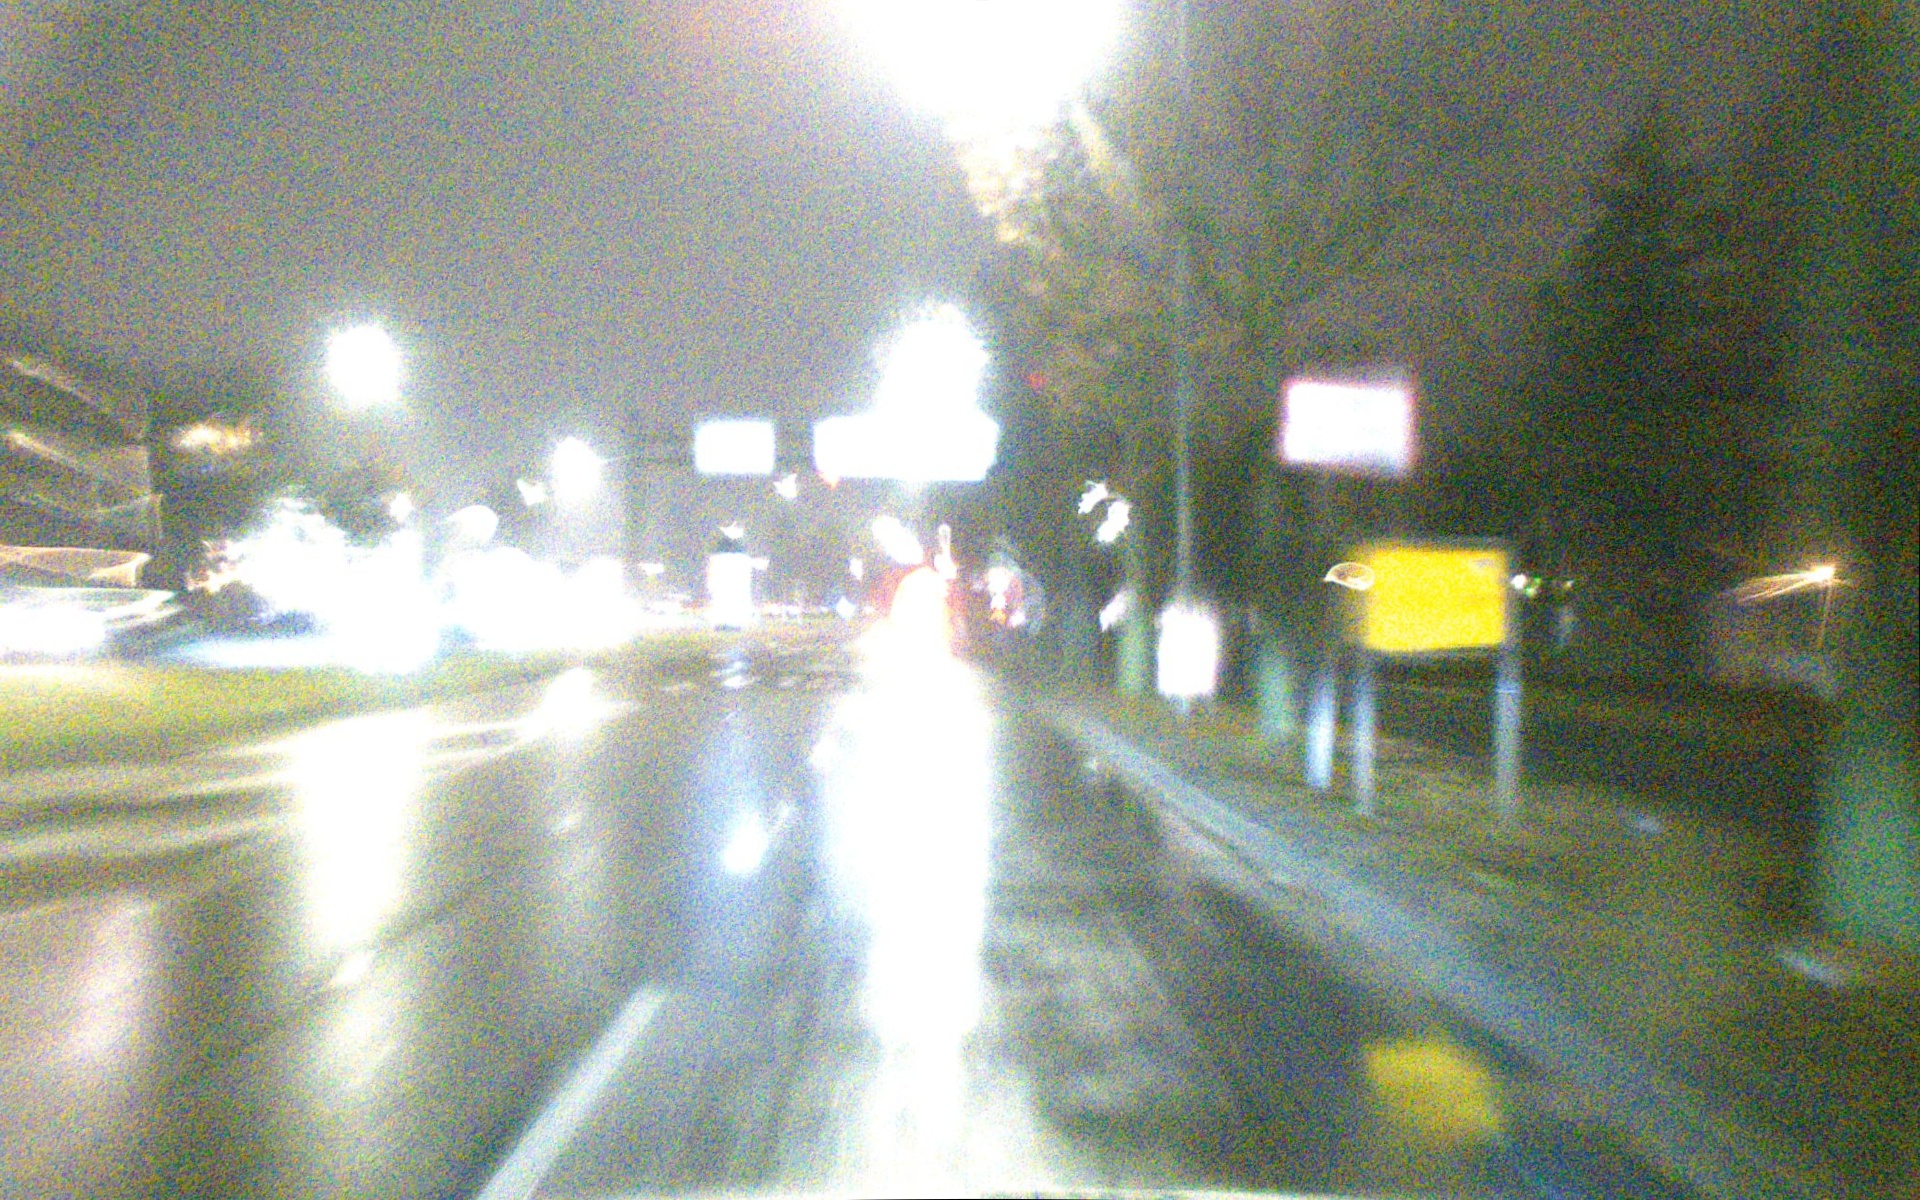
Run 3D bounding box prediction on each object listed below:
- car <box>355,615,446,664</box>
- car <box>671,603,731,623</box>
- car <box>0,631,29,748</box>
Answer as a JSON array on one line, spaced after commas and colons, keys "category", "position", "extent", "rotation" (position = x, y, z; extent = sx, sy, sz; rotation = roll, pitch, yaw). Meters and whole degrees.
[{"category": "car", "position": [-21.025, 1.466, 62.353], "extent": [1.984, 1.713, 4.546], "rotation": [1, 0, -2]}, {"category": "car", "position": [-29.351, 1.492, 187.484], "extent": [6.217, 2.126, 2.494], "rotation": [1, 0, -27]}, {"category": "car", "position": [-13.489, 1.163, 20.163], "extent": [1.805, 1.512, 4.365], "rotation": [1, 0, -1]}]
